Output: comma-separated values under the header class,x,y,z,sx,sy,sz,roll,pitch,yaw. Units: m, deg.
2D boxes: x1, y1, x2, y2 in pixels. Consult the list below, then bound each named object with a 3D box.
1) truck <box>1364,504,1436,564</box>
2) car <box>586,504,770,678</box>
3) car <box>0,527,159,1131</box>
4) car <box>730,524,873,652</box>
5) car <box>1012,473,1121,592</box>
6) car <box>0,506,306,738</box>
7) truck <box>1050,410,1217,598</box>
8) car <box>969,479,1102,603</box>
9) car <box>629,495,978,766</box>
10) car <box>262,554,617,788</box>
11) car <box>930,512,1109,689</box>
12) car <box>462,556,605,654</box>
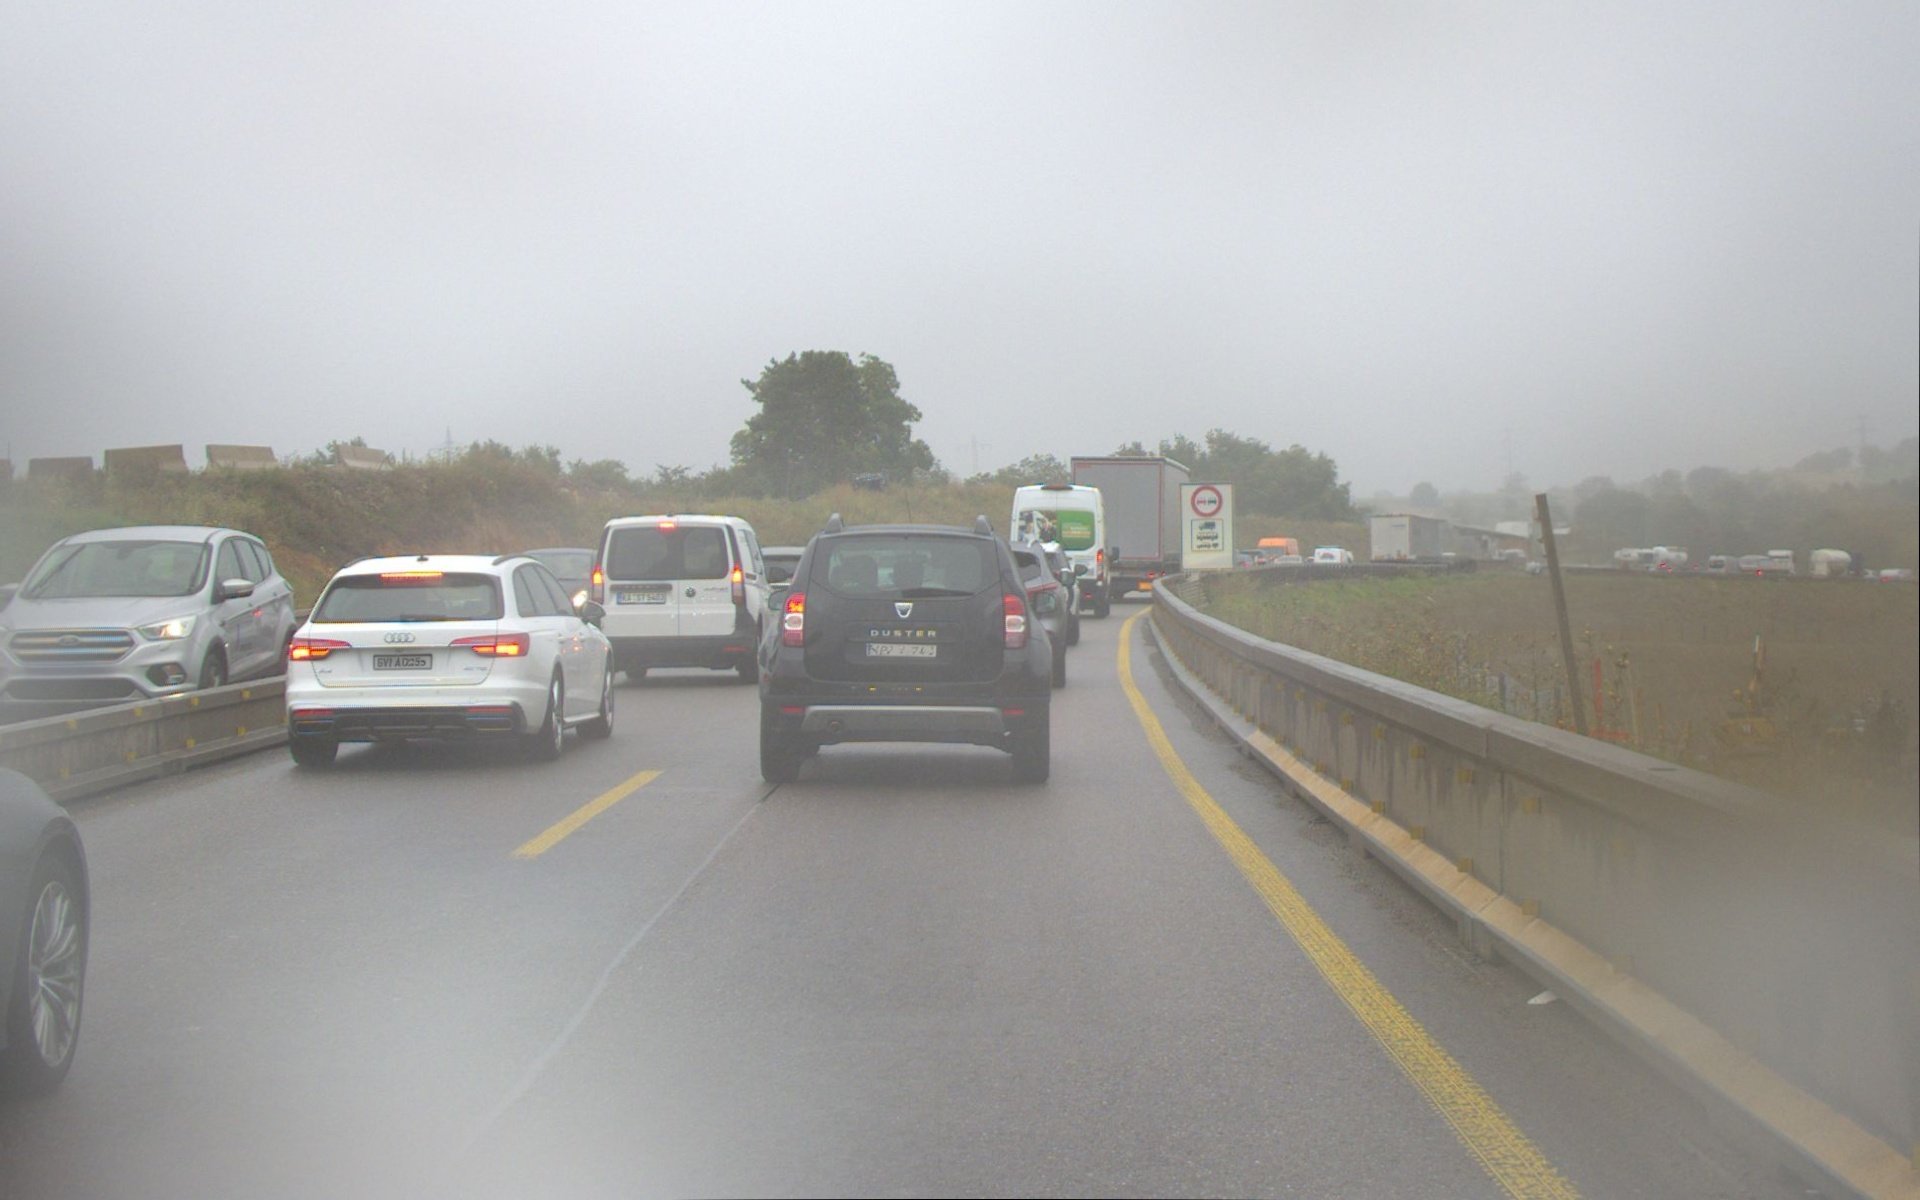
class,x,y,z,sx,sy,sz,roll,pitch,yaw
truck,28.047,-4.205,218.991,3.474,3.702,8.412,0,1,15
car,-3.067,-0.102,38.032,1.826,1.809,4.000,1,0,-2
car,-3.247,0.631,7.318,1.735,1.457,5.630,0,2,0
car,-2.315,-0.178,51.104,1.826,1.809,4.000,1,0,2
car,2.295,-1.398,72.956,1.827,2.429,4.156,1,0,8
car,-6.620,0.130,27.900,1.790,1.718,4.288,1,1,0
truck,5.050,-2.614,97.937,3.545,5.060,10.437,1,0,9
car,1.193,-0.876,52.651,1.826,1.809,3.999,1,0,4
car,-0.921,0.171,22.401,1.826,1.585,3.999,1,0,4
car,-3.564,0.449,24.229,1.826,1.494,4.000,1,0,1
car,0.646,0.001,37.547,1.826,1.809,4.000,1,0,1
car,-6.531,0.066,53.027,1.610,1.438,4.462,1,0,0
